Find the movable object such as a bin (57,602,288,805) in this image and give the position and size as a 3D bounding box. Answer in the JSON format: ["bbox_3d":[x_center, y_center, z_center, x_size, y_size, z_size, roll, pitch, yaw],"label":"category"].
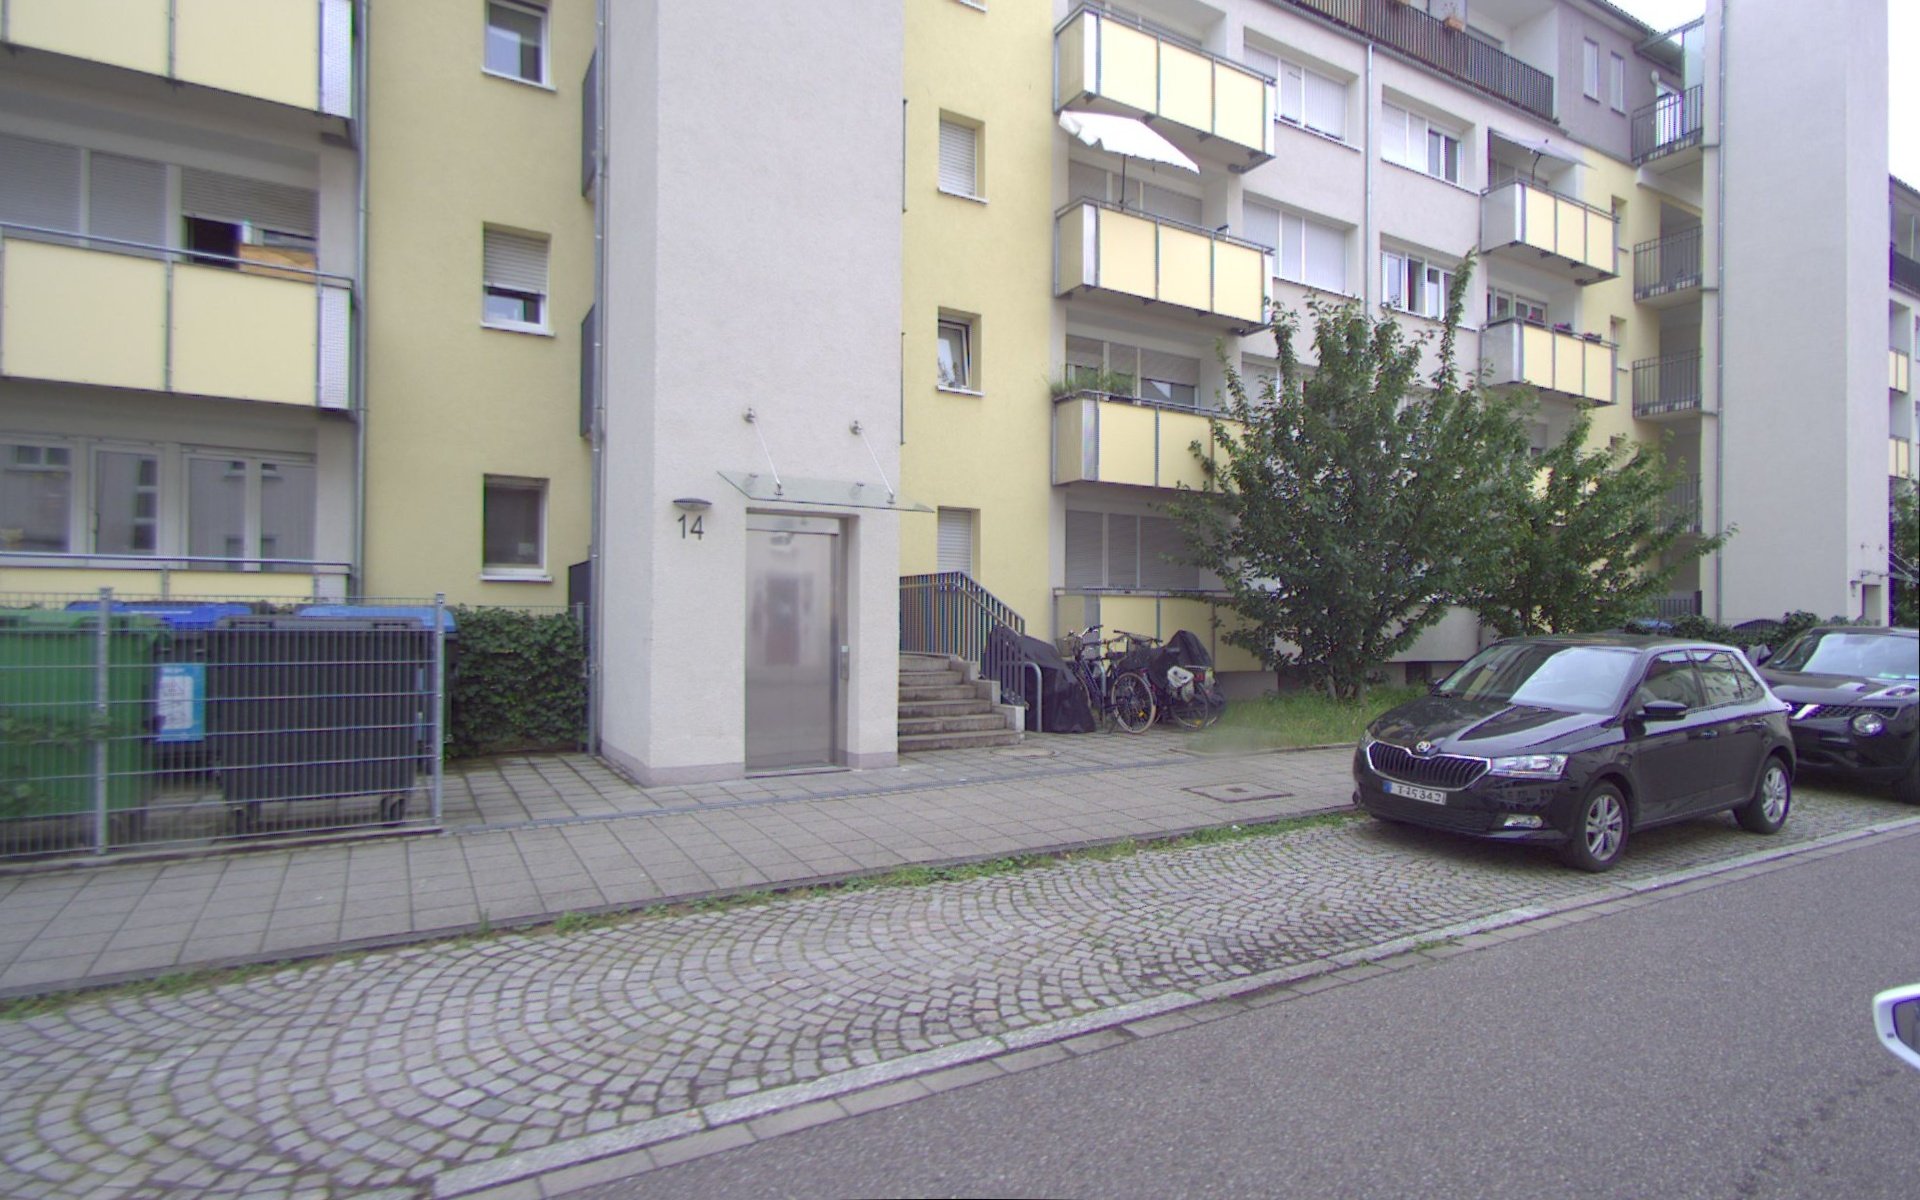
[{"bbox_3d":[-6.254,0.769,8.088,1.299,1.466,0.997,1,0,-30],"label":"movable object such as a bin"}]

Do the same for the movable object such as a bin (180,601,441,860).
[{"bbox_3d":[-4.107,0.758,6.477,1.299,1.466,0.997,1,0,-30],"label":"movable object such as a bin"}]

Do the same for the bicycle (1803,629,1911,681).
[{"bbox_3d":[21.497,1.287,24.103,0.598,1.133,1.825,1,0,-31],"label":"bicycle"}]

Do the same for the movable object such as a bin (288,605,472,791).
[{"bbox_3d":[-5.018,0.797,8.764,1.299,1.466,0.997,1,0,-30],"label":"movable object such as a bin"}]

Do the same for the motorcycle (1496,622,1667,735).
[{"bbox_3d":[8.097,0.968,13.058,2.391,1.324,0.865,1,1,-30],"label":"motorcycle"}]

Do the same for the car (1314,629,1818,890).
[{"bbox_3d":[4.647,0.992,7.599,3.811,1.458,1.635,1,1,-31],"label":"car"}]

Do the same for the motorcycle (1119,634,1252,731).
[{"bbox_3d":[2.849,1.007,12.860,0.587,1.144,1.739,1,-2,-33],"label":"motorcycle"}]

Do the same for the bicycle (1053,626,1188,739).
[{"bbox_3d":[1.885,0.939,12.035,0.602,1.241,1.712,1,-1,-34],"label":"bicycle"}]

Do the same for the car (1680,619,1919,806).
[{"bbox_3d":[9.353,1.019,10.307,3.846,1.551,1.646,1,1,-28],"label":"car"}]

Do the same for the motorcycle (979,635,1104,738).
[{"bbox_3d":[0.953,1.001,12.133,0.683,1.144,1.606,1,-2,-33],"label":"motorcycle"}]

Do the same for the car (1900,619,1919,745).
[{"bbox_3d":[14.543,1.100,13.371,4.809,1.591,1.824,1,1,-33],"label":"car"}]

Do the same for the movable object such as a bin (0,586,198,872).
[{"bbox_3d":[-5.303,0.684,5.793,1.299,1.521,0.997,1,0,-30],"label":"movable object such as a bin"}]

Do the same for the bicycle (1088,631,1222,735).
[{"bbox_3d":[2.375,0.980,12.411,0.602,1.157,1.712,1,-1,-34],"label":"bicycle"}]

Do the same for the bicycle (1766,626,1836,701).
[{"bbox_3d":[14.191,1.051,16.937,1.712,1.207,0.547,1,-2,-38],"label":"bicycle"}]
